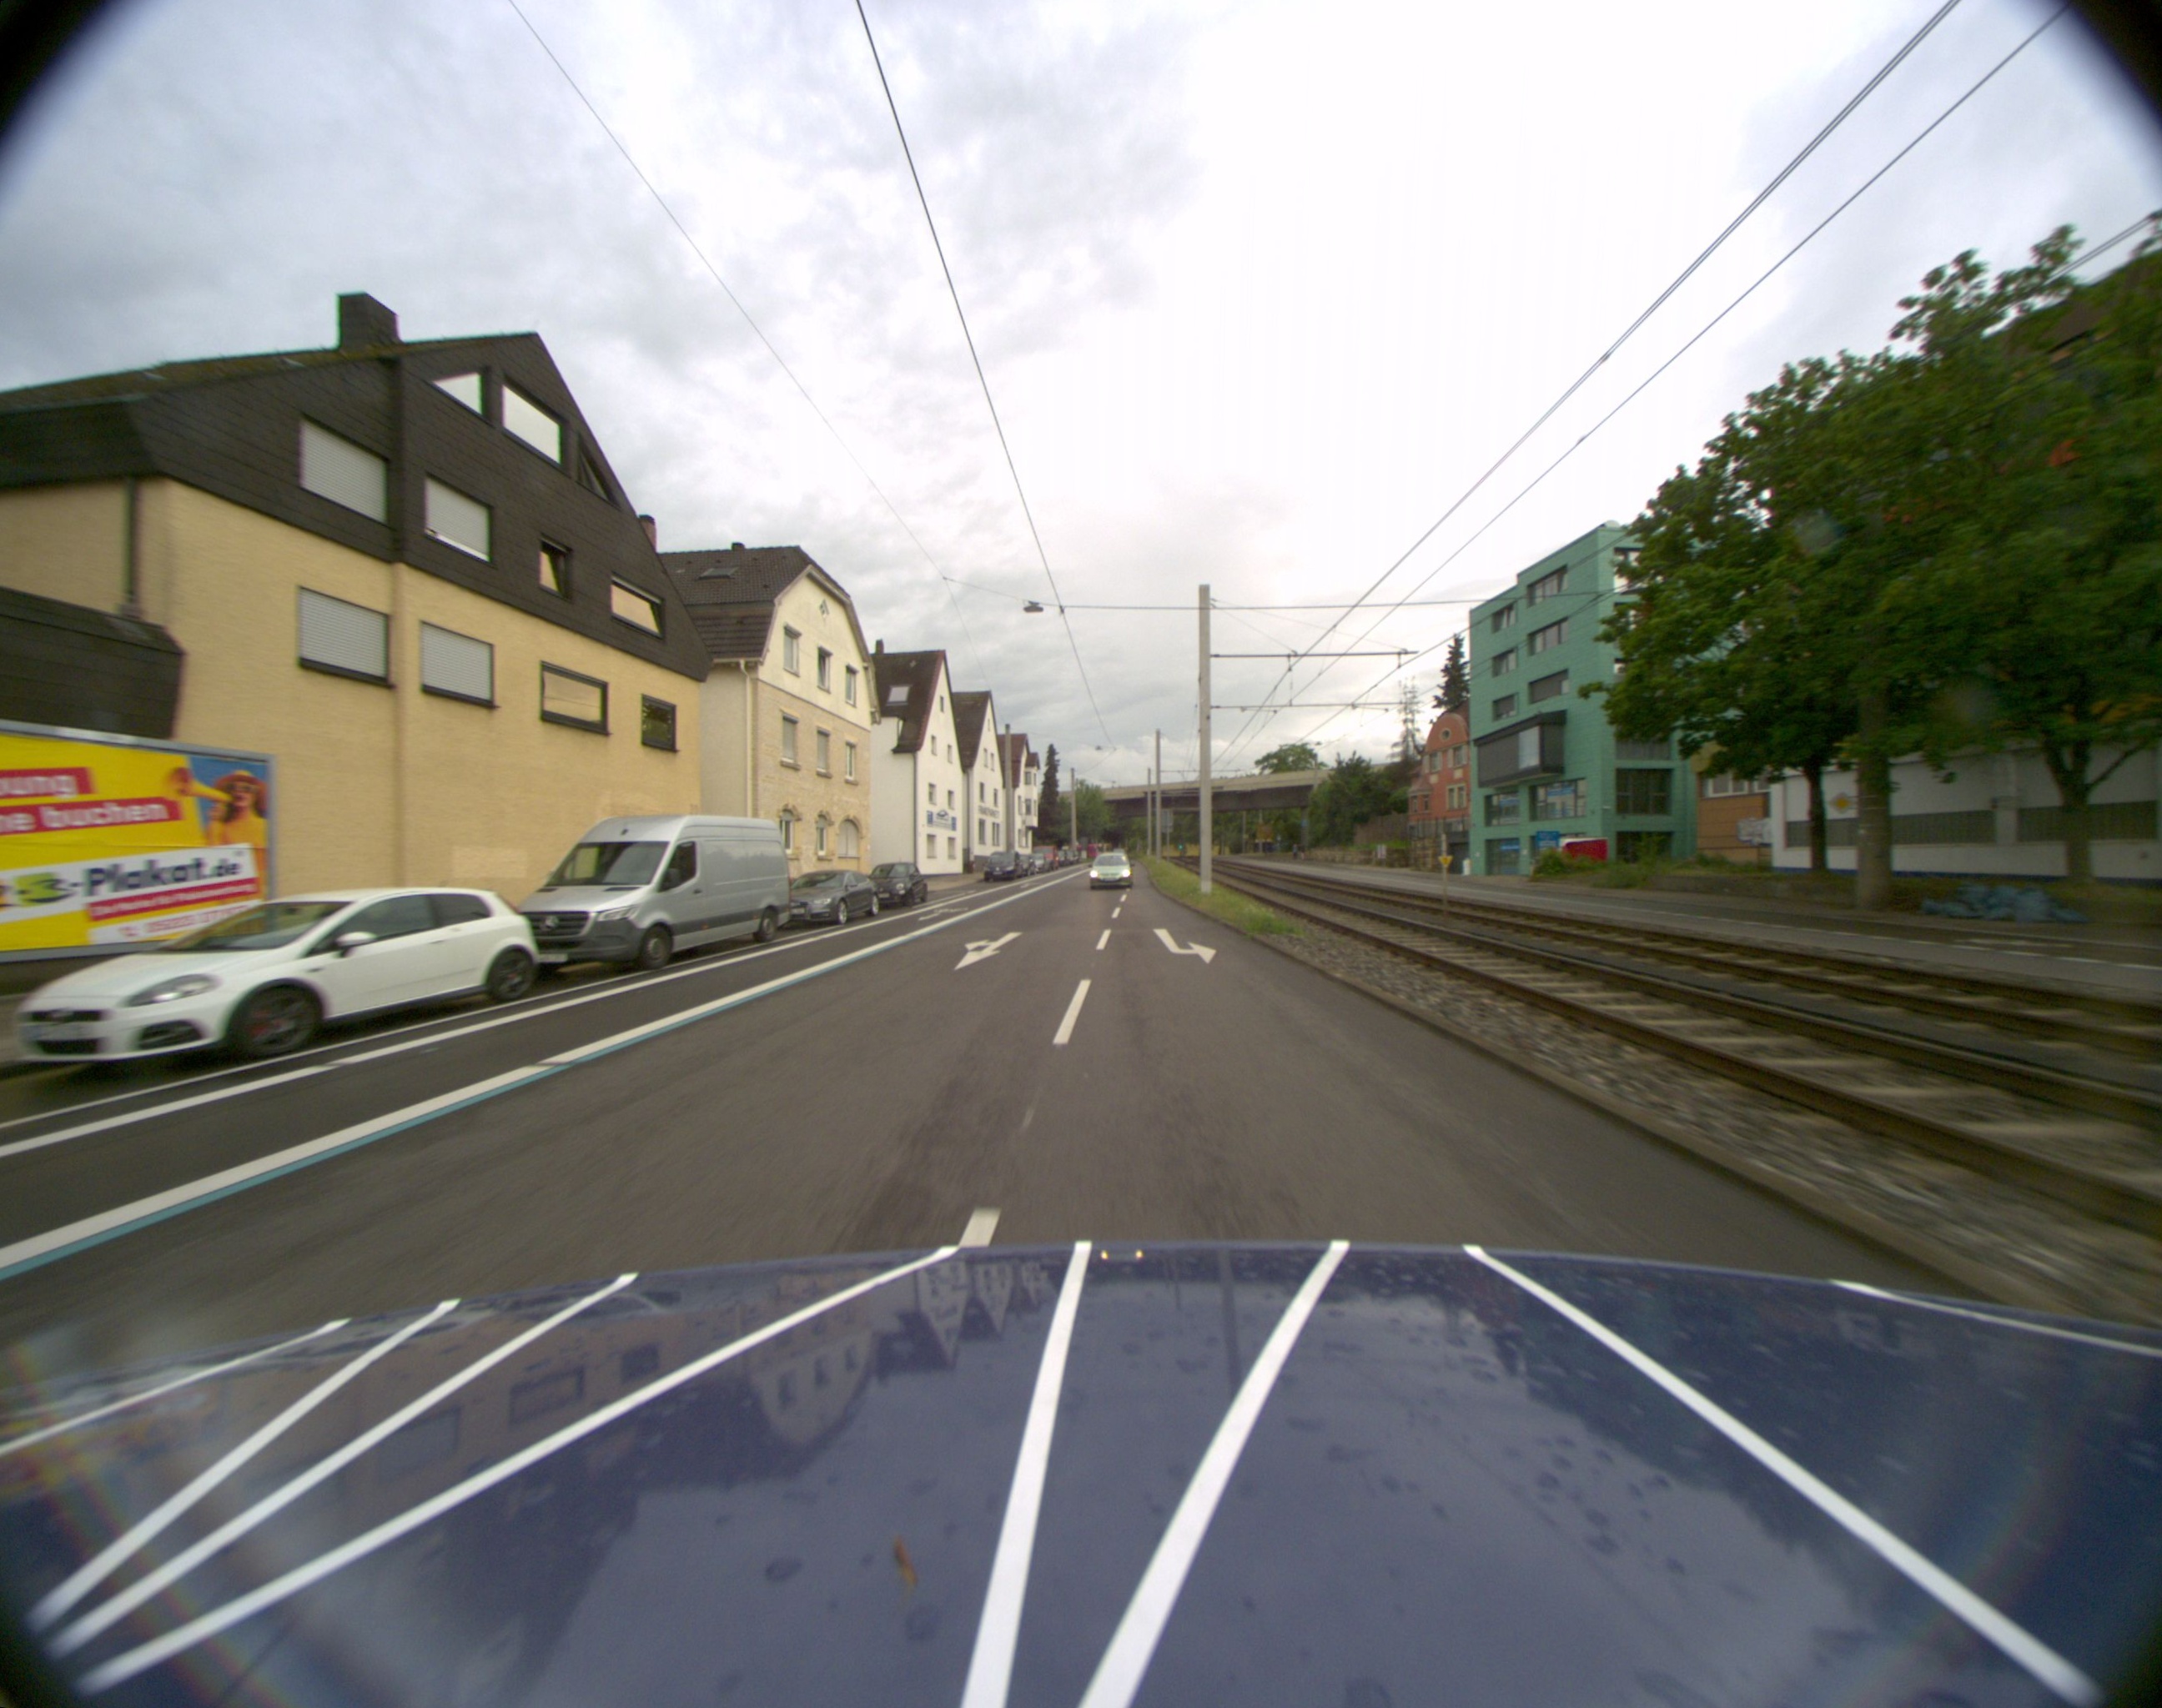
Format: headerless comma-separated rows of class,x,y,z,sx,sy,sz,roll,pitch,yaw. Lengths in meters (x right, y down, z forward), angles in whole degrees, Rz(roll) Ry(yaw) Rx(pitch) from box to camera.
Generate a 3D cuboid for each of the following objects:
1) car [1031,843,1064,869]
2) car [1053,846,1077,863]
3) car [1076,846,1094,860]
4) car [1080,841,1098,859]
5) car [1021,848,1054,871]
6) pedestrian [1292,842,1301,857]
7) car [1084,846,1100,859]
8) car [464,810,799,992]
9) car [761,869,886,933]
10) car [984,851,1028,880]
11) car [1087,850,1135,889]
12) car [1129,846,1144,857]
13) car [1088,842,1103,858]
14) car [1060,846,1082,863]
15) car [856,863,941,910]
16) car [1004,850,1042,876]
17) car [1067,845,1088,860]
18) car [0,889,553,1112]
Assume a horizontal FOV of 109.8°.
car,-2.670,0.124,61.473,1.976,1.984,4.436,-2,1,5
car,-1.478,-0.003,72.914,1.726,1.539,4.202,-2,1,6
car,0.472,-0.092,88.858,1.726,1.539,4.202,-2,1,6
car,0.998,-0.486,93.394,1.726,2.079,4.202,-2,1,6
car,-3.160,0.397,55.716,1.726,1.539,4.202,-2,1,6
pedestrian,23.143,-0.514,81.607,0.746,1.635,1.021,-1,1,4
car,1.462,-0.243,98.982,1.726,1.539,4.202,-2,1,6
car,-7.361,0.626,13.539,2.044,2.484,5.922,-2,1,4
car,-6.715,1.173,20.314,1.726,1.338,4.085,-2,1,3
car,-4.374,0.632,44.932,1.726,1.539,4.202,-2,1,6
car,1.305,0.620,32.541,1.887,1.440,4.201,-2,1,3
car,7.512,-0.393,103.201,1.887,1.416,4.201,-2,1,3
car,1.993,-0.552,104.439,1.726,1.994,4.202,-2,1,6
car,-0.953,0.040,77.419,1.726,1.539,4.202,-2,1,6
car,-6.274,1.078,26.555,1.726,1.338,4.201,-2,1,3
car,-3.767,0.548,50.316,1.726,1.539,4.202,-2,1,6
car,-0.353,-0.160,83.115,1.726,1.539,4.202,-2,1,6
car,-7.883,1.222,7.869,1.604,1.456,4.202,-2,0,5
